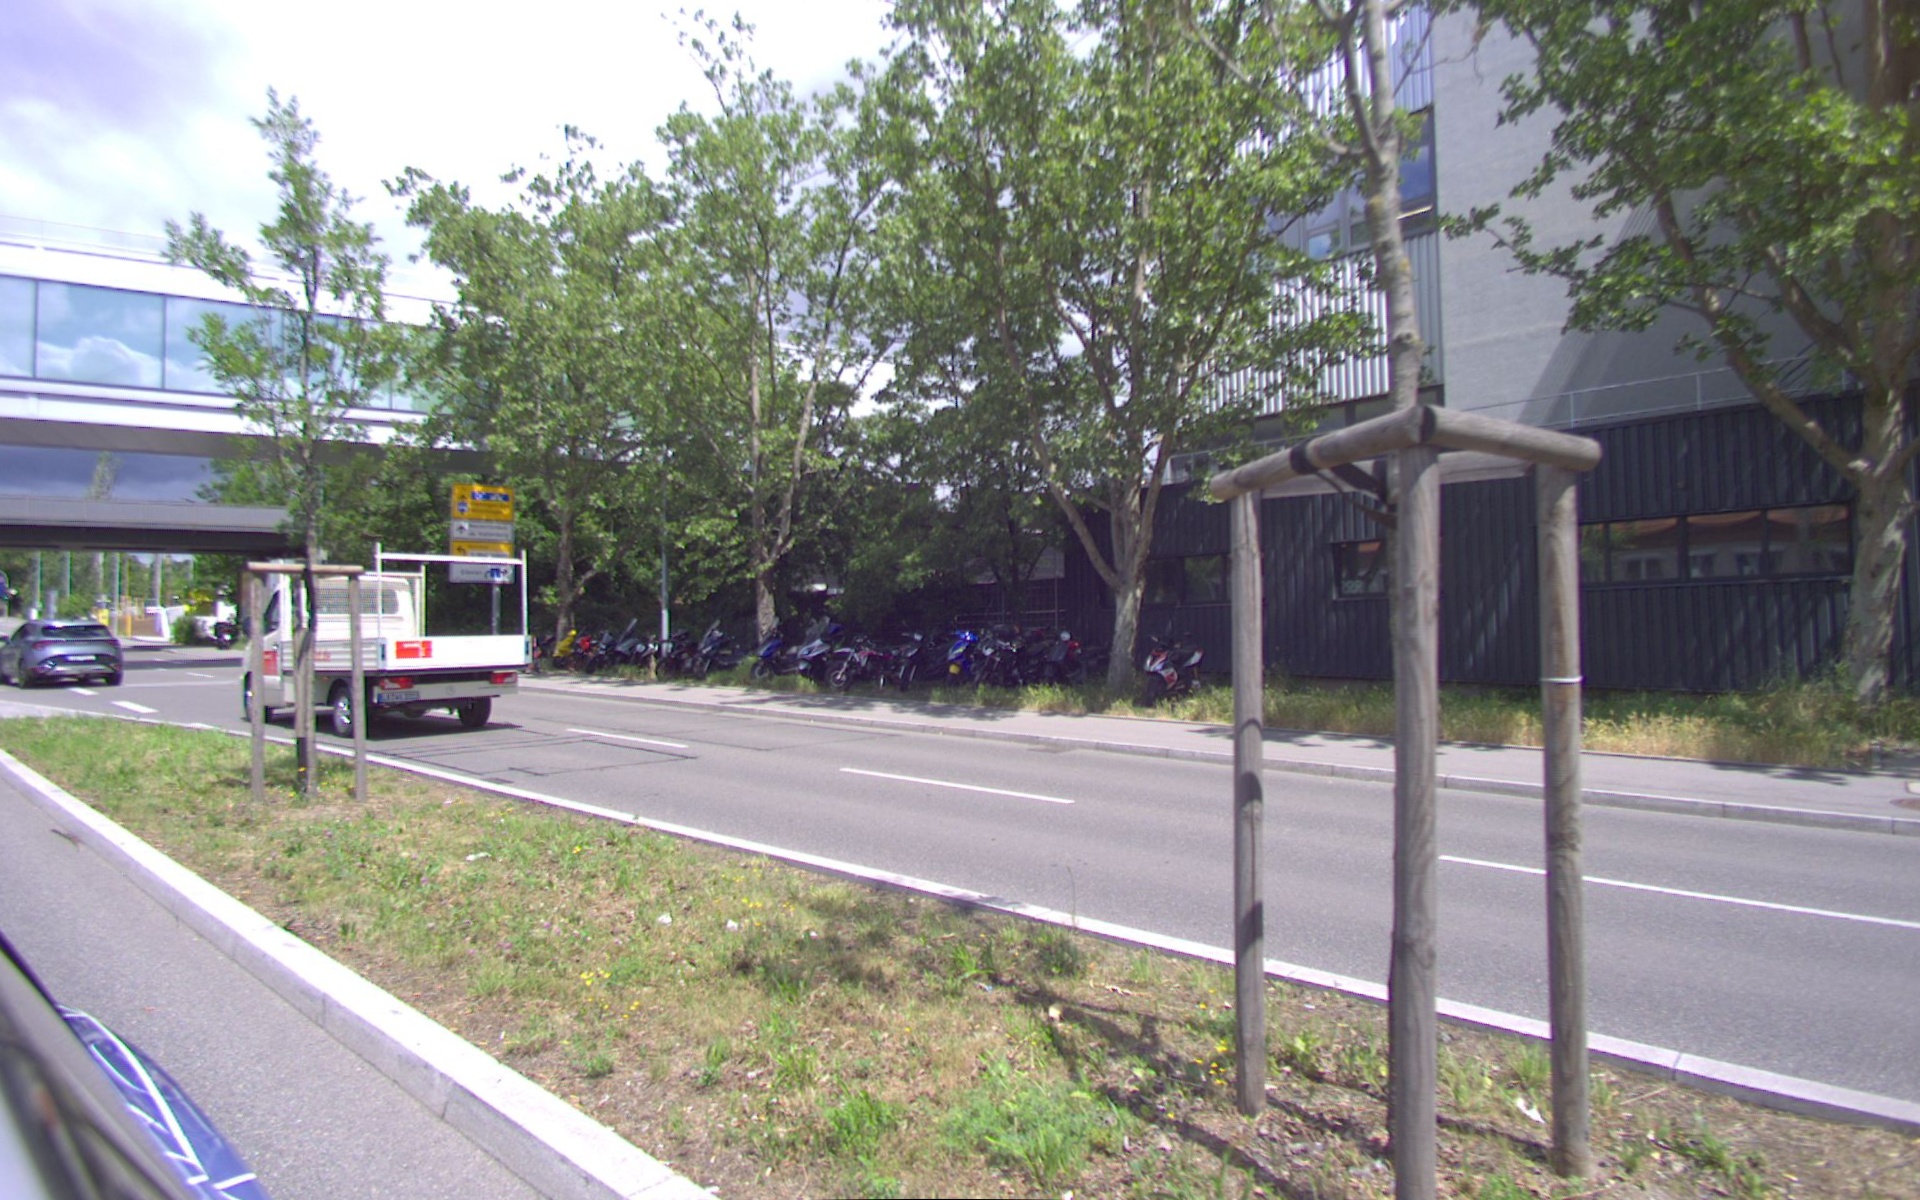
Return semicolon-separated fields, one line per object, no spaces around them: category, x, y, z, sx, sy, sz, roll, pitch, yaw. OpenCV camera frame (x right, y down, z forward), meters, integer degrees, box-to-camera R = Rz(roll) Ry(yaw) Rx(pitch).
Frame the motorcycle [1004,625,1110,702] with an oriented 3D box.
motorcycle;1.712;1.086;17.735;1.854;1.195;0.731;-2;0;-41

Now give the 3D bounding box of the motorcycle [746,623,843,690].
motorcycle;-3.713;1.254;22.706;1.905;1.354;0.867;-2;-1;-28

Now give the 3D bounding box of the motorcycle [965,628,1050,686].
motorcycle;1.051;1.290;22.897;0.645;1.219;1.984;-2;-1;-44

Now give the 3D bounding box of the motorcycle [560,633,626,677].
motorcycle;-10.409;1.558;28.733;0.776;1.131;1.574;-4;-1;42

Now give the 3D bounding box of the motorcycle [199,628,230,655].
motorcycle;-35.041;1.942;47.548;2.256;1.207;0.633;0;1;41

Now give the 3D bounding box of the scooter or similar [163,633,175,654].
scooter or similar;-42.900;2.335;54.898;0.470;1.129;1.387;2;-2;-37

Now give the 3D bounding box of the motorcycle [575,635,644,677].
motorcycle;-9.566;1.523;27.613;0.776;1.041;1.574;-4;-1;42

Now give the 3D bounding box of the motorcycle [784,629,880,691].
motorcycle;-2.746;1.271;21.787;1.852;1.188;0.817;-2;-1;-34

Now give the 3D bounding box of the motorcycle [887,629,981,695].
motorcycle;-0.503;1.218;20.204;0.698;1.188;1.856;-4;-1;45

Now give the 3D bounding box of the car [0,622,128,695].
car;-22.307;1.373;24.912;4.286;1.643;1.887;-1;-1;37

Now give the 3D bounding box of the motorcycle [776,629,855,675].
motorcycle;-3.959;1.407;27.694;1.904;1.124;0.924;-2;-1;-22

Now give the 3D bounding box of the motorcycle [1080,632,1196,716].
motorcycle;2.847;1.145;16.066;1.854;1.182;0.746;-2;-1;-40

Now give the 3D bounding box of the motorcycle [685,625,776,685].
motorcycle;-5.506;1.308;24.298;1.905;1.300;0.895;-2;-1;-28

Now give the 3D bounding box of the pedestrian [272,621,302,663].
pedestrian;-26.967;1.681;40.538;0.813;1.624;0.760;-1;1;40

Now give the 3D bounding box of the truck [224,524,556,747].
truck;-9.010;0.534;15.650;6.455;2.772;2.453;-2;-2;41

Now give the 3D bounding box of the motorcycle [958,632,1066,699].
motorcycle;0.968;1.183;18.678;1.852;1.093;0.796;-2;-1;-34

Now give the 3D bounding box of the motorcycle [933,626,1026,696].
motorcycle;0.394;1.159;19.679;0.655;1.219;1.856;-4;-1;45

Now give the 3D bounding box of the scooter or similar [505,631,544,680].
scooter or similar;-11.637;1.462;27.045;1.479;1.245;0.350;0;0;41

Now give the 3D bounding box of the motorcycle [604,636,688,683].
motorcycle;-8.026;1.523;25.931;0.918;1.124;1.918;0;-3;30

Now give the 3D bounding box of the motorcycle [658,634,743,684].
motorcycle;-6.478;1.449;25.221;1.904;1.124;0.924;-2;-1;-22

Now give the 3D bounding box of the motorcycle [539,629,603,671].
motorcycle;-11.334;1.450;29.541;0.773;1.131;1.579;-3;-1;32

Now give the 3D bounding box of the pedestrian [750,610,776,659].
pedestrian;-7.010;1.207;35.967;0.871;1.714;0.986;0;-1;-9

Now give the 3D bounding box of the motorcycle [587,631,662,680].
motorcycle;-8.857;1.451;26.749;0.849;1.188;1.734;-3;-1;30

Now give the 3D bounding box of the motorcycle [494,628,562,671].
motorcycle;-13.212;1.504;30.945;1.720;1.180;0.777;-2;-1;-41

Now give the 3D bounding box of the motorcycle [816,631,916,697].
motorcycle;-1.897;1.274;20.581;1.854;1.188;0.816;-2;-1;-40
